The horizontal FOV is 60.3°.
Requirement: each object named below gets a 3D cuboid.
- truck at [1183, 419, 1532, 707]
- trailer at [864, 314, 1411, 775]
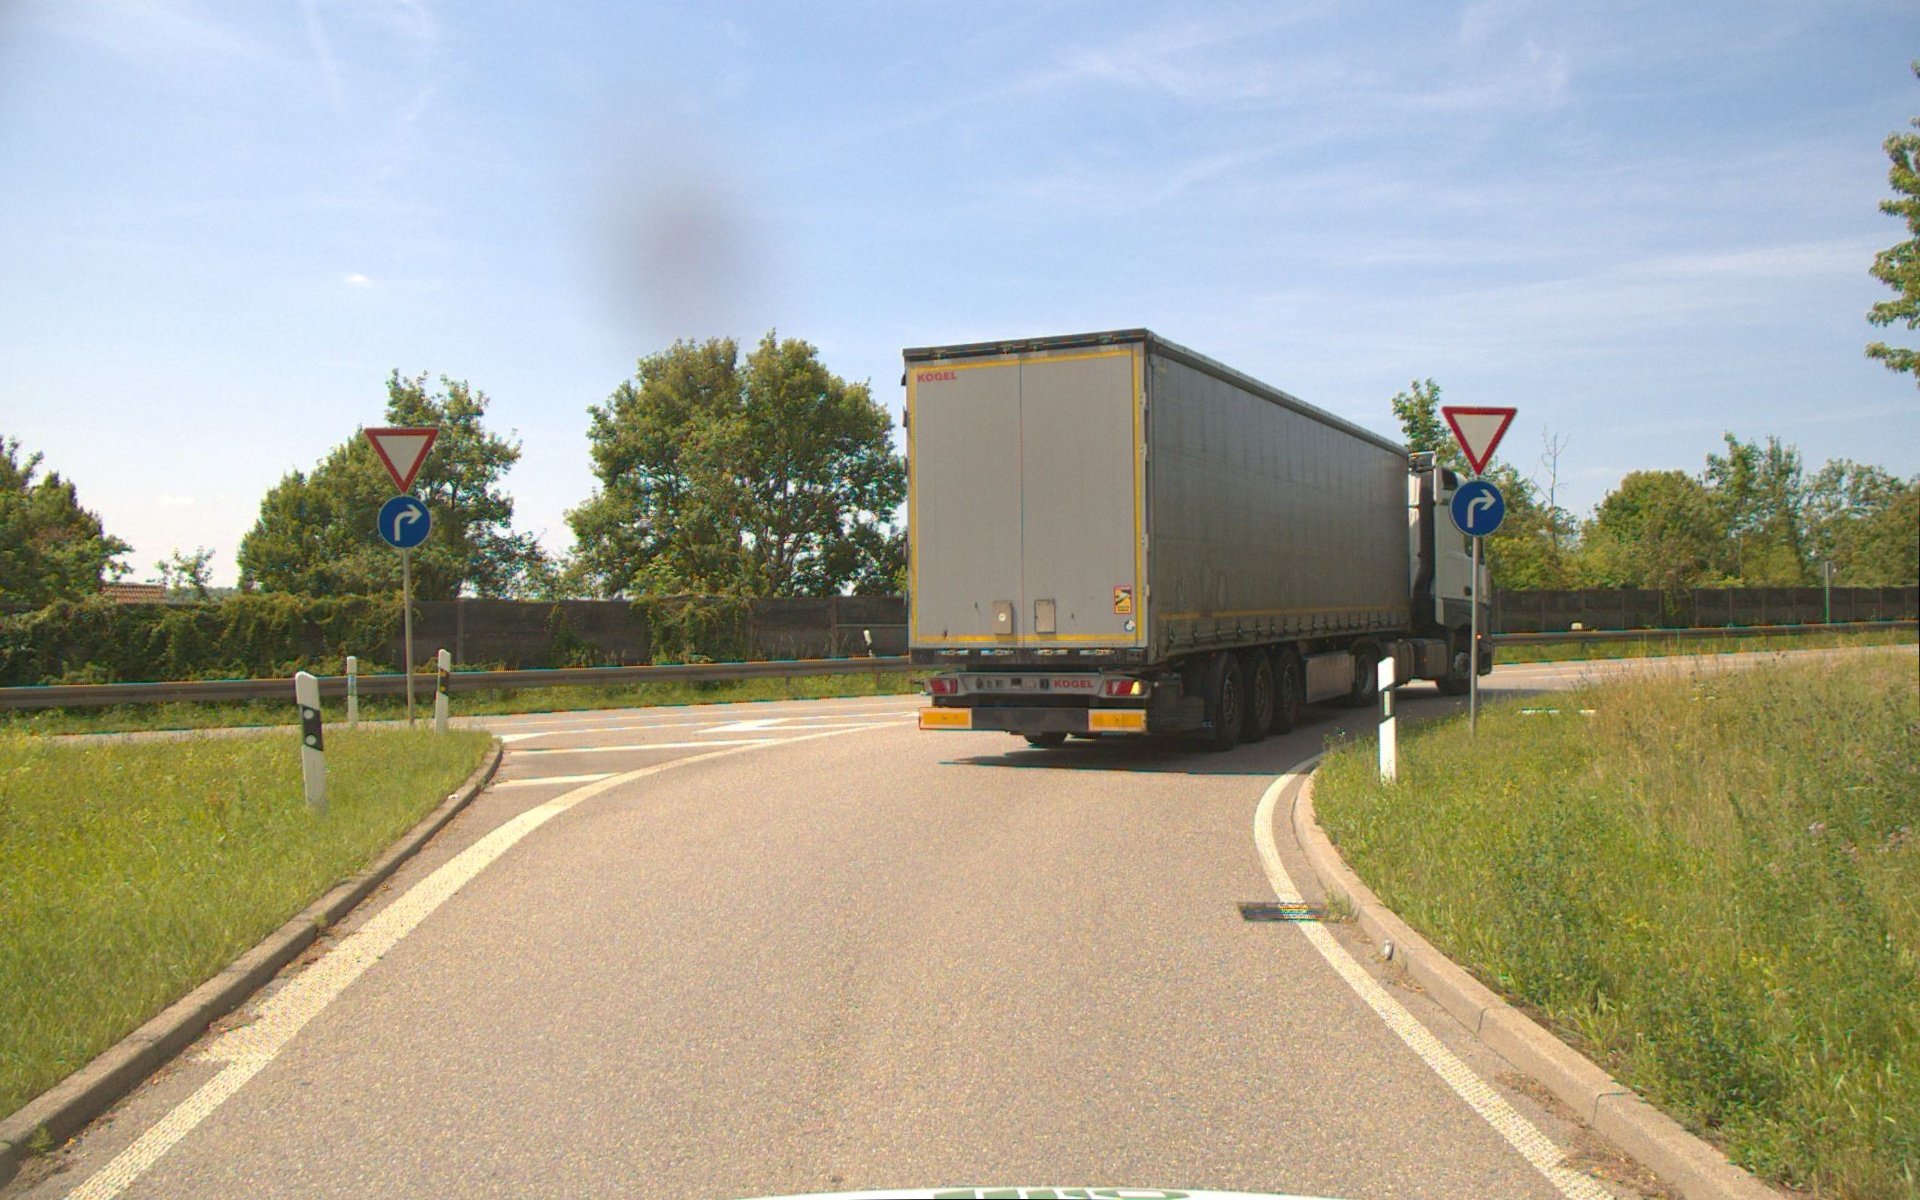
[{"bbox_3d":[7.022,-0.581,28.431,3.103,4.298,7.087,-1,0,39],"label":"truck"},{"bbox_3d":[3.195,-0.465,21.415,2.966,4.105,13.343,-1,0,25],"label":"trailer"}]
